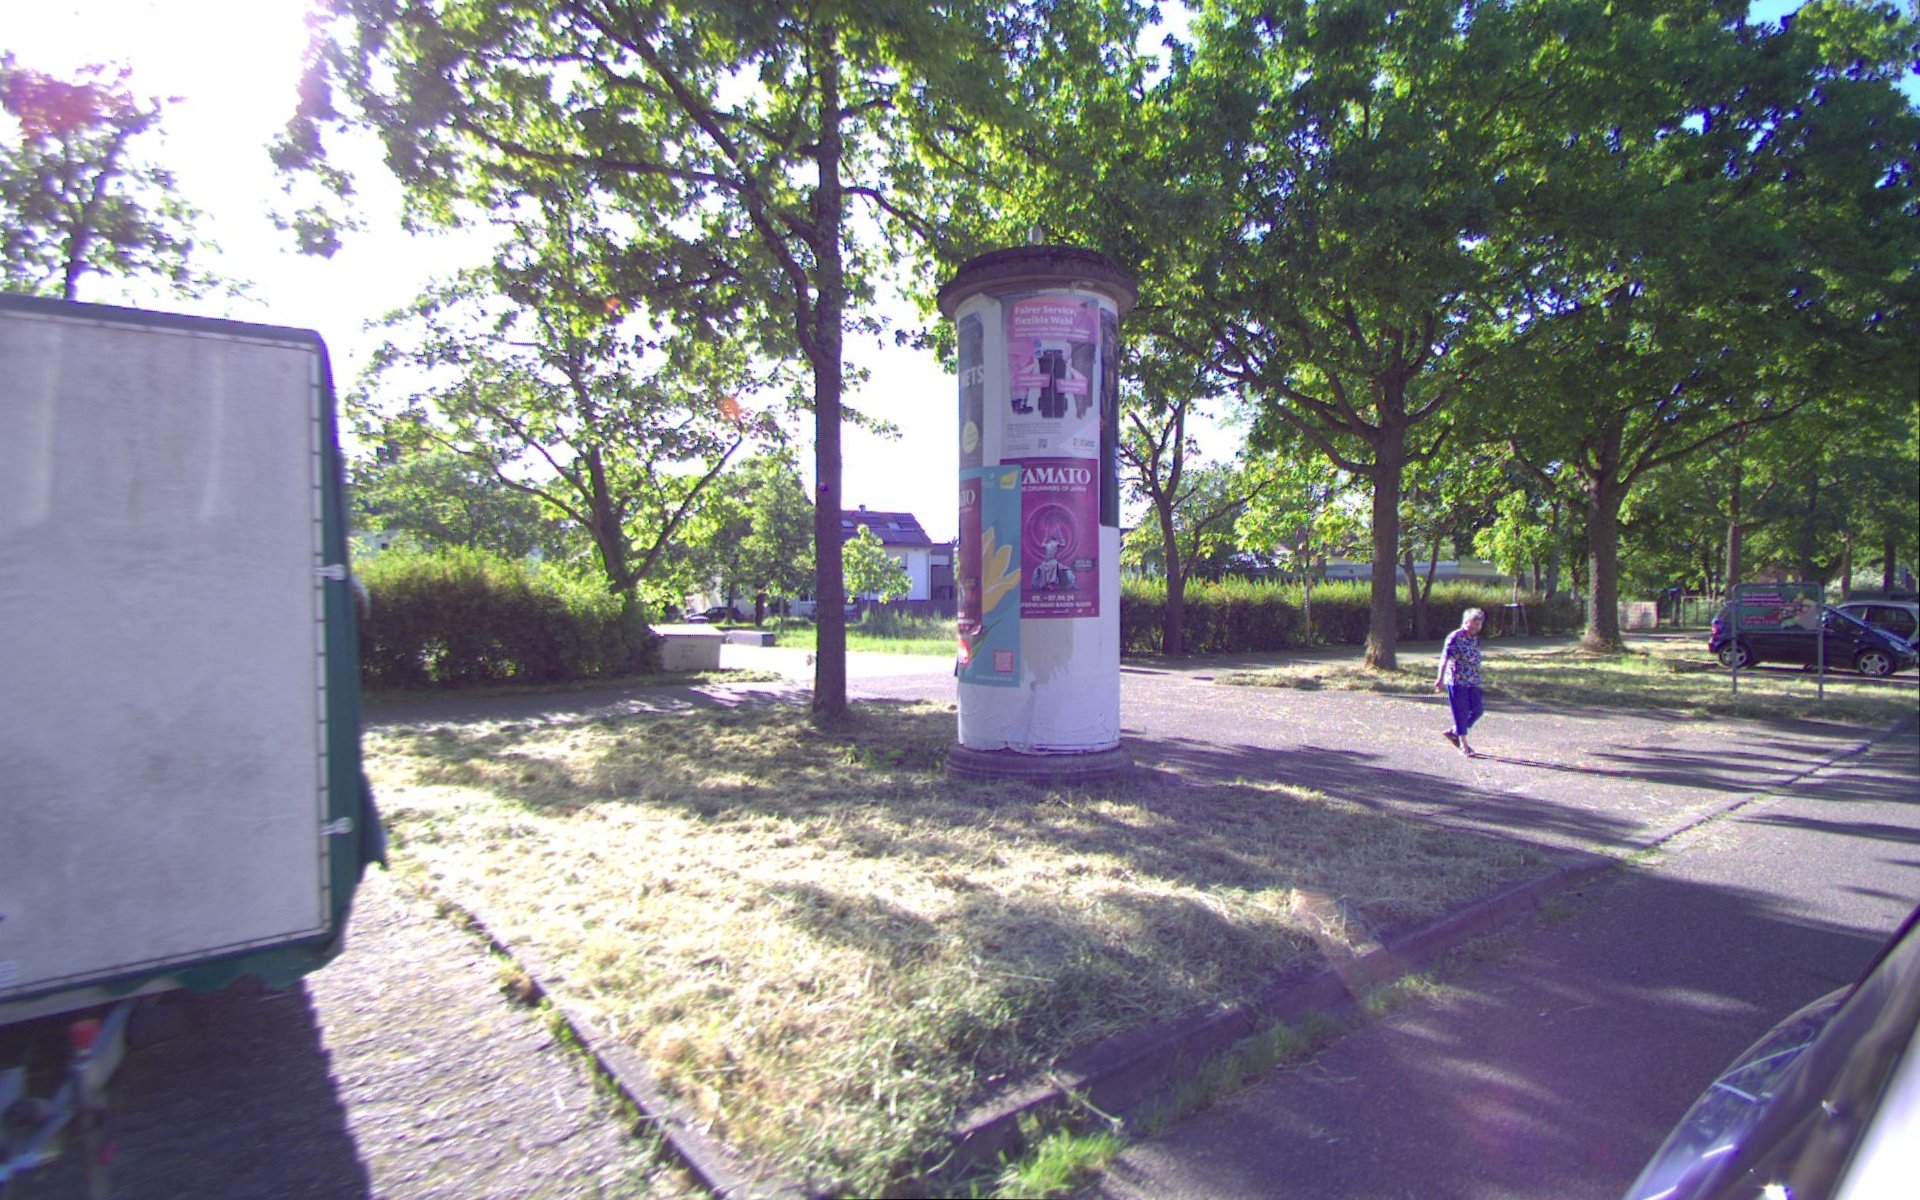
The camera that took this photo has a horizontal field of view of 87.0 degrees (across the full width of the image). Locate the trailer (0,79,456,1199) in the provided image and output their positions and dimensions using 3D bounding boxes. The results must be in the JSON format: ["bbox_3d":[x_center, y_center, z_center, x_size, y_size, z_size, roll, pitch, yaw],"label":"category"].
[{"bbox_3d":[-3.526,0.177,3.982,1.655,2.346,5.791,0,2,-38],"label":"trailer"}]

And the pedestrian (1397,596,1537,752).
[{"bbox_3d":[5.212,0.728,10.456,0.867,1.519,0.945,1,0,-11],"label":"pedestrian"}]

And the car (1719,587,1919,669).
[{"bbox_3d":[19.212,0.555,22.357,1.825,1.596,3.590,0,2,-41],"label":"car"}]

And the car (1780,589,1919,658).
[{"bbox_3d":[23.031,0.558,25.341,1.754,1.596,3.593,0,2,-38],"label":"car"}]

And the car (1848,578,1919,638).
[{"bbox_3d":[33.989,0.290,34.907,1.910,2.057,4.812,0,1,-40],"label":"car"}]

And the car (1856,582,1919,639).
[{"bbox_3d":[32.293,0.357,33.308,1.769,1.860,4.014,0,2,-42],"label":"car"}]

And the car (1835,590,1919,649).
[{"bbox_3d":[26.757,0.551,28.040,1.635,1.551,3.530,0,2,-38],"label":"car"}]

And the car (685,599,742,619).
[{"bbox_3d":[-17.493,0.641,71.874,3.916,1.397,1.666,0,0,-13],"label":"car"}]
